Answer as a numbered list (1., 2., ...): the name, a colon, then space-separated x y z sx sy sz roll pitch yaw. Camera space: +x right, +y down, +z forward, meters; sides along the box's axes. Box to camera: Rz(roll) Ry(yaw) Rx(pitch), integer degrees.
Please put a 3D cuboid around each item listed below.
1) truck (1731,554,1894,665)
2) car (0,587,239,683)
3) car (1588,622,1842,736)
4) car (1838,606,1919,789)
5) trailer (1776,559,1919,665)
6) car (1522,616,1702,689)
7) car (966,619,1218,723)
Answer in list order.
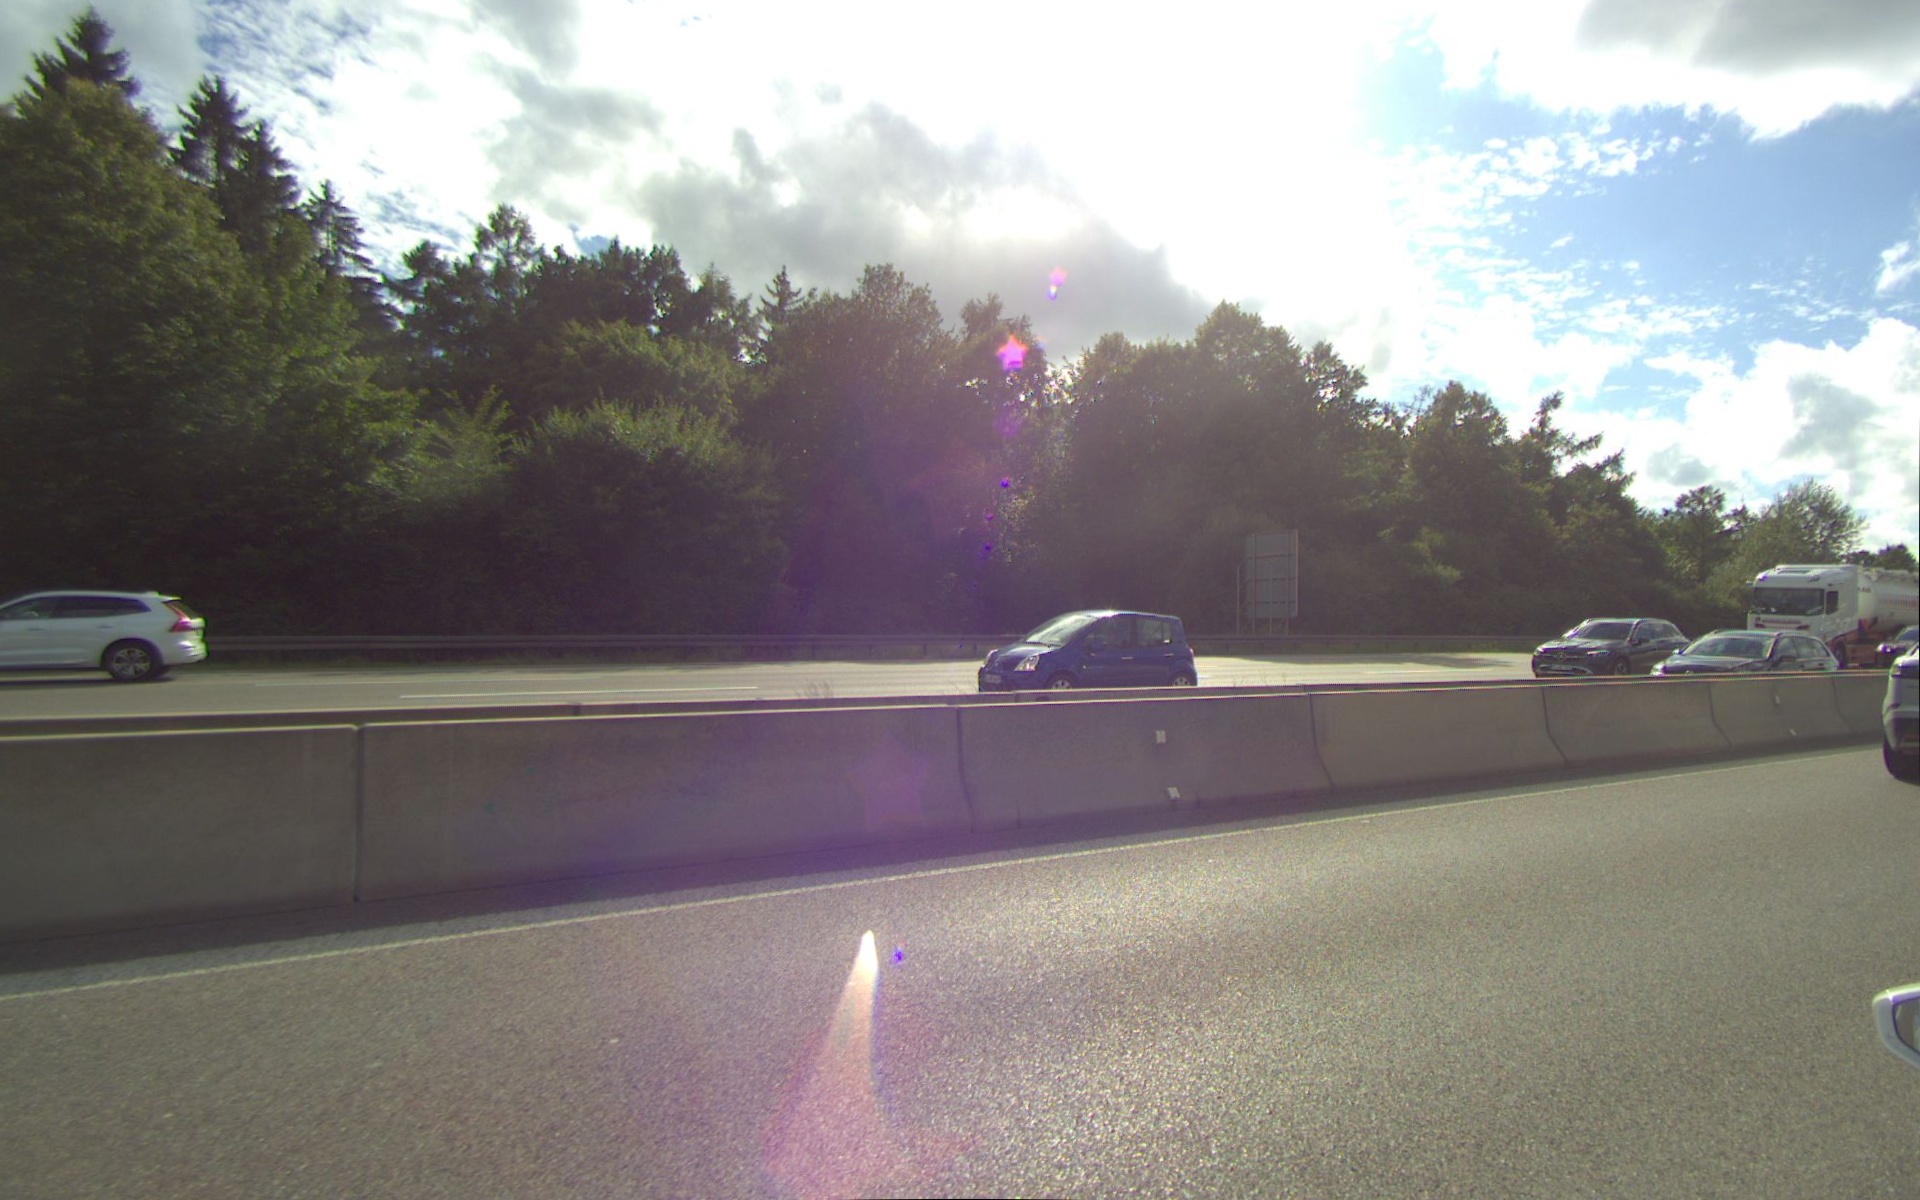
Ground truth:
1. truck: 33.031 0.397 38.890 6.368 3.998 2.775 1 0 -29
2. car: -16.548 0.644 18.706 4.820 1.658 2.161 1 -2 -31
3. car: 14.380 1.397 19.075 4.923 1.903 2.161 1 -1 -31
4. car: 11.081 0.935 9.996 5.239 1.638 1.996 1 0 -31
5. trailer: 38.776 0.591 42.180 12.105 3.998 2.775 1 0 -30
6. car: 16.158 1.251 24.823 4.692 1.641 1.851 1 -1 -30
7. car: 2.202 1.098 16.498 3.952 1.532 1.621 1 -1 -30
